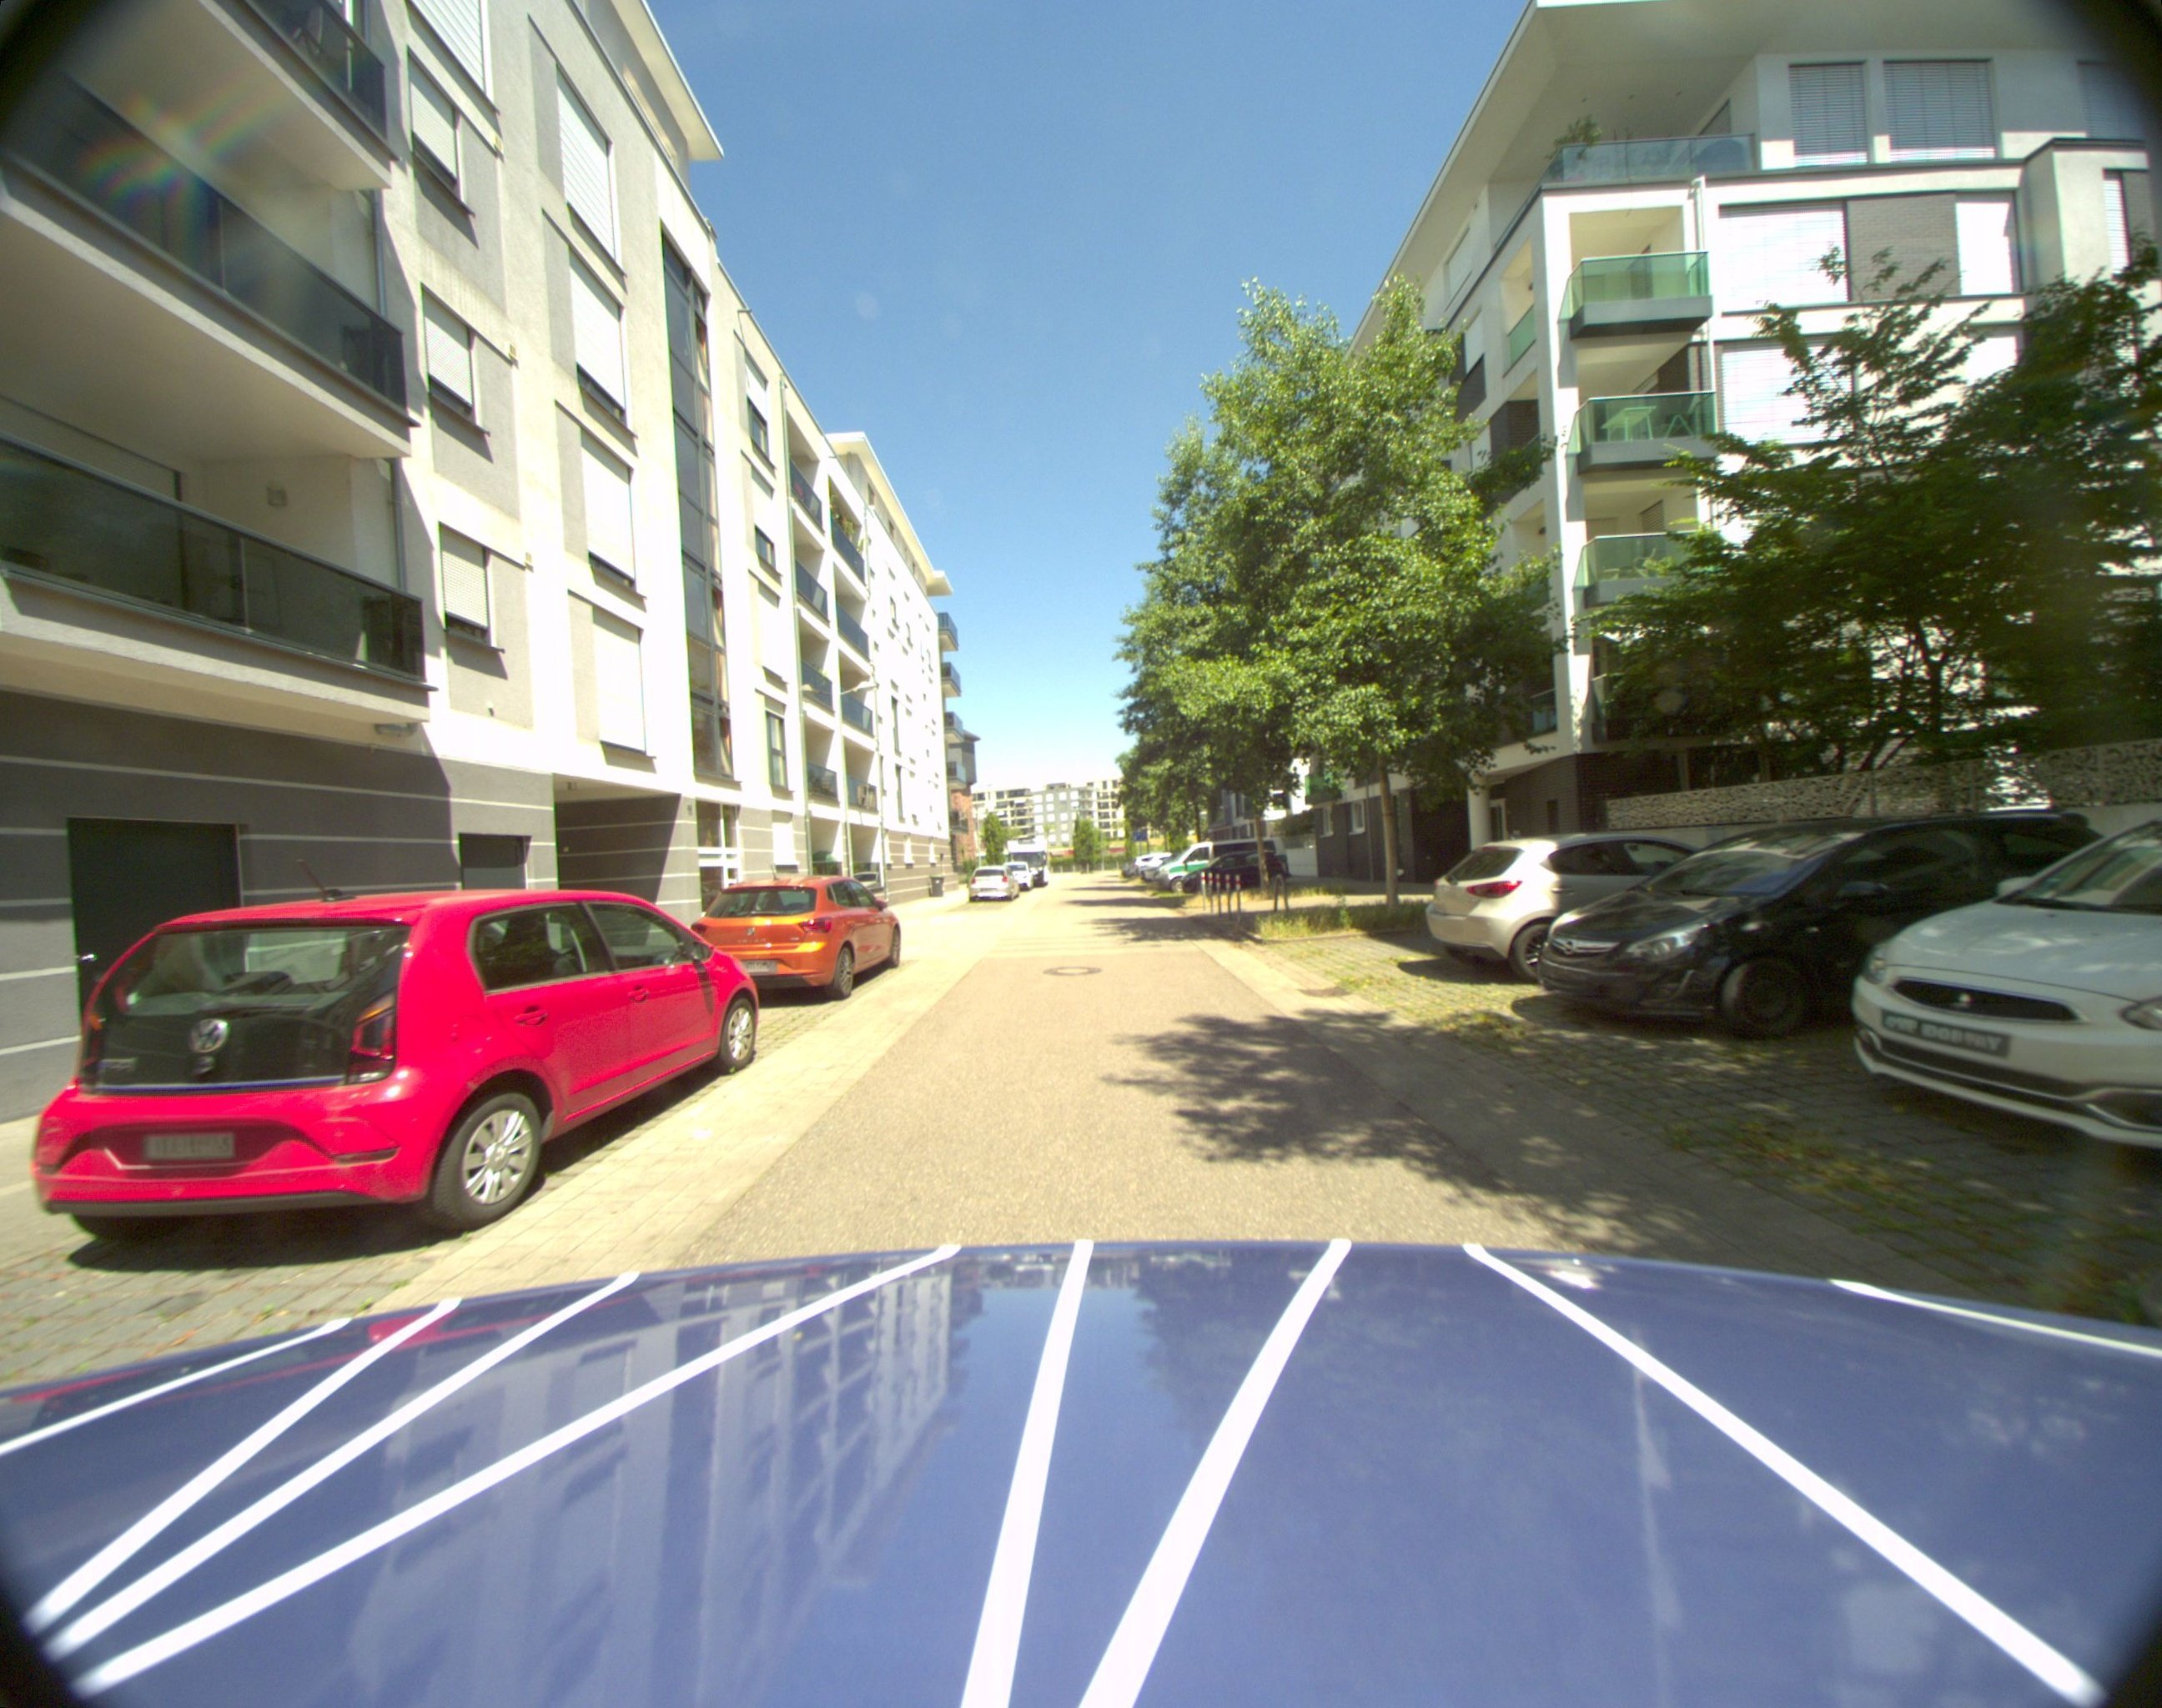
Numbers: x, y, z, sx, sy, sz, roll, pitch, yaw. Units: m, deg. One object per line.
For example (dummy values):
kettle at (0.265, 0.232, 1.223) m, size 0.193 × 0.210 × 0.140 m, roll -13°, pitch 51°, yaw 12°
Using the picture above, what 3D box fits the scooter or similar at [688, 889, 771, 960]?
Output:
scooter or similar at (-6.863, 1.359, 14.903) m, size 0.546 × 1.218 × 1.531 m, roll -4°, pitch 0°, yaw 15°

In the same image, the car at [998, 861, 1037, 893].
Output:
car at (-3.310, 1.175, 40.268) m, size 1.812 × 1.496 × 4.260 m, roll -2°, pitch 0°, yaw -2°

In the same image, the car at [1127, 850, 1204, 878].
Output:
car at (5.870, 0.682, 53.038) m, size 5.042 × 1.622 × 2.042 m, roll -4°, pitch 0°, yaw -2°

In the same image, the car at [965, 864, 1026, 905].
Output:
car at (-3.448, 1.205, 31.255) m, size 1.850 × 1.408 × 4.426 m, roll -3°, pitch 0°, yaw 1°

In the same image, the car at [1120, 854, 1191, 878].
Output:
car at (5.653, 0.900, 58.099) m, size 5.112 × 1.476 × 1.927 m, roll -4°, pitch 1°, yaw -2°

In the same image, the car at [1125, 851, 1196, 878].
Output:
car at (5.769, 0.732, 55.454) m, size 4.831 × 1.441 × 1.827 m, roll -6°, pitch 1°, yaw -2°

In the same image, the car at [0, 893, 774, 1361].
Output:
car at (-3.412, 1.073, 4.547) m, size 1.599 × 1.477 × 3.676 m, roll -1°, pitch 0°, yaw 0°

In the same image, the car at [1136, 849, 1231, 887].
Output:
car at (5.407, 0.731, 40.462) m, size 4.571 × 1.584 × 1.966 m, roll -5°, pitch 0°, yaw -5°

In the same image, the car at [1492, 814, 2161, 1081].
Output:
car at (5.901, 0.606, 5.934) m, size 4.327 × 1.467 × 1.793 m, roll -5°, pitch 0°, yaw 0°

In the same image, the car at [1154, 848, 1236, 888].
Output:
car at (5.643, 0.676, 37.823) m, size 3.689 × 1.666 × 1.852 m, roll -4°, pitch 0°, yaw 0°

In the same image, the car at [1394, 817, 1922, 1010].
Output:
car at (6.037, 0.581, 8.379) m, size 4.263 × 1.509 × 1.924 m, roll -5°, pitch 0°, yaw 0°

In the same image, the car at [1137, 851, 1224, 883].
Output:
car at (5.906, 0.753, 45.538) m, size 4.862 × 1.448 × 1.829 m, roll -5°, pitch 0°, yaw 0°

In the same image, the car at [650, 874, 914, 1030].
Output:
car at (-3.597, 1.086, 10.084) m, size 1.742 × 1.478 × 4.258 m, roll -2°, pitch 0°, yaw 0°

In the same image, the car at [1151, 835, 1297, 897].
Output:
car at (5.586, 0.468, 30.283) m, size 5.355 × 2.098 × 2.187 m, roll -3°, pitch 0°, yaw 2°

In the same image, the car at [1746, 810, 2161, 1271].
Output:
car at (5.832, 0.562, 3.373) m, size 3.997 × 1.582 × 1.884 m, roll -4°, pitch 0°, yaw 1°

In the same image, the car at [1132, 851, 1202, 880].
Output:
car at (5.684, 0.754, 50.319) m, size 4.263 × 1.521 × 1.822 m, roll -5°, pitch 0°, yaw -3°

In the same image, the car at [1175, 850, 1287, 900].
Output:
car at (5.374, 0.727, 27.493) m, size 3.632 × 1.473 × 1.678 m, roll -4°, pitch 0°, yaw -1°

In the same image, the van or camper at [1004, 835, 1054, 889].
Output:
van or camper at (-3.083, 0.408, 46.549) m, size 2.445 × 2.889 × 7.825 m, roll -4°, pitch 0°, yaw -1°

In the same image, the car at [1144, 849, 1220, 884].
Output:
car at (5.695, 0.684, 43.093) m, size 3.990 × 1.619 × 1.950 m, roll -5°, pitch 0°, yaw 2°
